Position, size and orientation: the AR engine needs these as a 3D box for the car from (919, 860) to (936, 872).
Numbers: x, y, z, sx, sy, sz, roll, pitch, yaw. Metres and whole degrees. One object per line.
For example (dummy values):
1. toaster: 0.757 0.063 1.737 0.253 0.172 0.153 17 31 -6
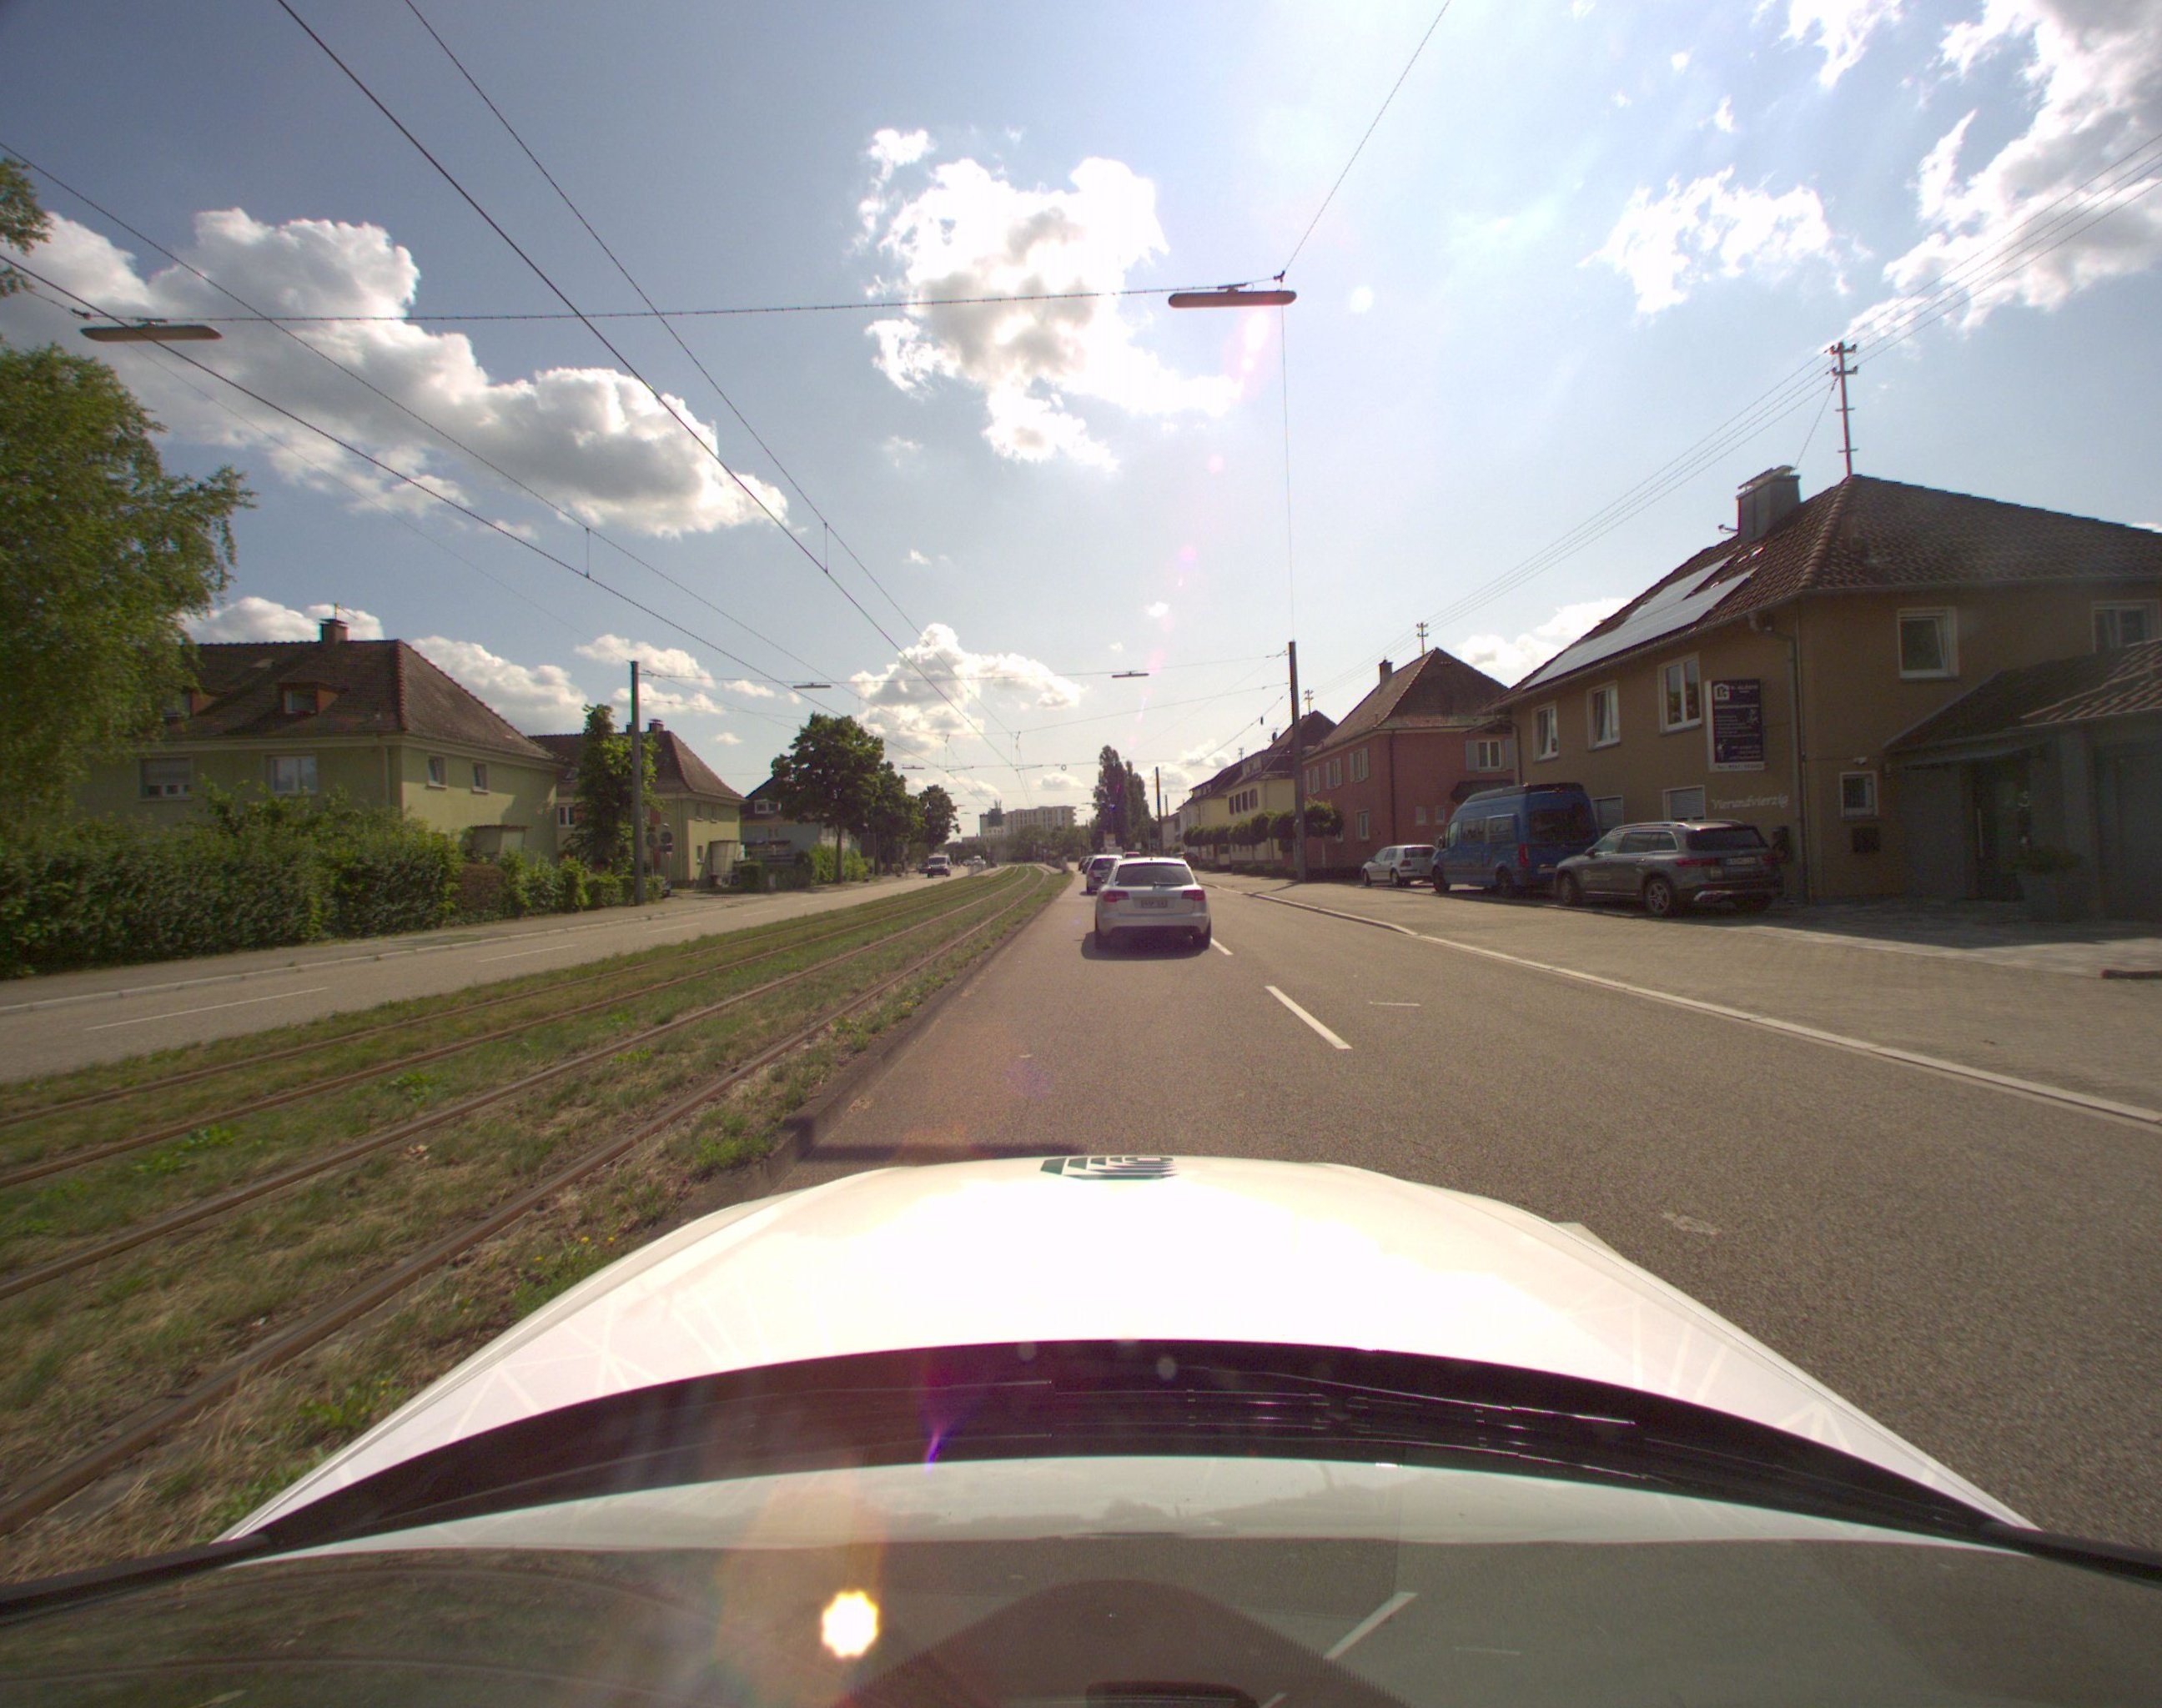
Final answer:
1. car: -21.545 1.692 114.603 1.782 1.584 3.927 -2 0 -2

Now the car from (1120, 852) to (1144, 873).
1. car: 4.495 0.730 71.606 1.876 1.731 4.100 -3 0 5

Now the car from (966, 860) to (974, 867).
1. car: -27.328 2.322 200.603 1.861 1.651 3.989 -1 -1 -8

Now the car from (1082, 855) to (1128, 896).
1. car: 0.994 0.856 33.754 1.780 1.577 4.096 0 0 2

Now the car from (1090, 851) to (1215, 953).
1. car: 1.244 0.726 14.530 1.846 1.492 4.541 -2 0 4

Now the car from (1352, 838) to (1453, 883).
1. car: 11.408 0.235 29.222 1.645 1.409 4.345 -3 0 -3

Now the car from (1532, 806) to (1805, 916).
1. car: 11.187 0.098 16.076 1.830 1.711 4.864 -4 0 1

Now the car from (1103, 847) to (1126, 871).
1. car: 3.821 0.568 94.260 2.037 2.557 5.223 -2 0 -4

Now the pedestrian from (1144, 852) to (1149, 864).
1. pedestrian: 10.623 0.635 131.987 0.719 1.782 0.702 -5 0 -2

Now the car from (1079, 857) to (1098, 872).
1. car: 0.774 1.084 84.561 1.878 1.530 4.095 -1 0 1

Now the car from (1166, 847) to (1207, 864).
1. car: 10.663 0.175 81.923 4.117 1.457 1.892 -4 2 -44

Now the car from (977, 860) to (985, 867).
1. car: -23.568 2.185 192.209 1.895 1.541 3.719 -1 -1 -8

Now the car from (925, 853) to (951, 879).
1. car: -14.565 1.228 83.251 2.195 2.372 5.318 -4 0 -7

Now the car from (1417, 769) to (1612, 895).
1. car: 11.508 -0.488 22.326 2.143 2.930 6.246 -1 -1 2
